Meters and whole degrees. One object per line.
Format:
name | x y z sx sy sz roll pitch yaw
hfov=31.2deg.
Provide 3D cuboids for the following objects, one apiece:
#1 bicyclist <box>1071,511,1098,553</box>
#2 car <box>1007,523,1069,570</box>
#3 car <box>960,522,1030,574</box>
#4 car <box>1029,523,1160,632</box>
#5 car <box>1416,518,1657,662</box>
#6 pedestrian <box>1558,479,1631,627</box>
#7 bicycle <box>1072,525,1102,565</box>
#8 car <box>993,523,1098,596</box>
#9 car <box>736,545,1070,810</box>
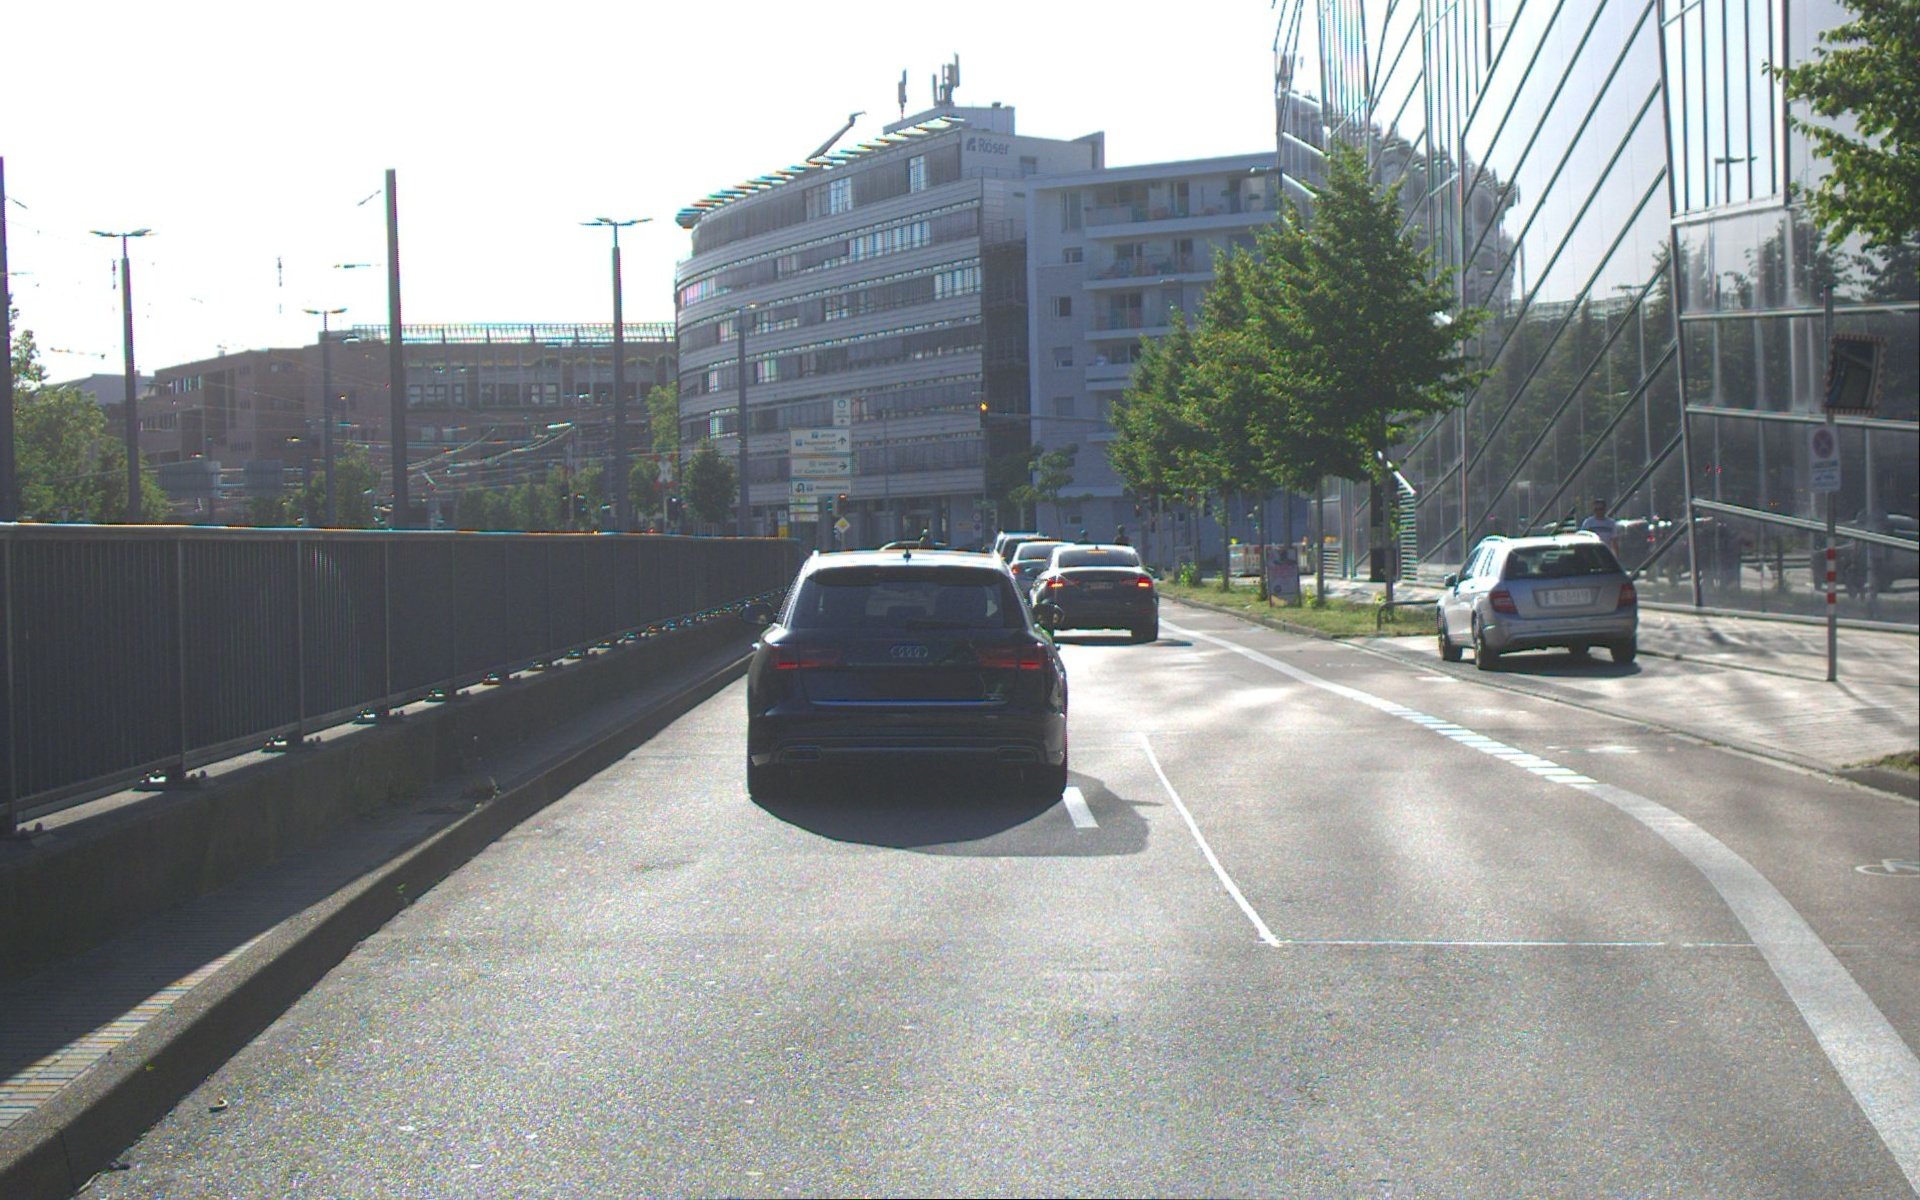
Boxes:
bicyclist | 3.849 -2.093 106.250 0.724 1.264 1.036 -2 1 -2
car | 2.569 -1.772 112.423 1.993 1.460 4.000 0 2 1
car | 1.054 -1.544 100.642 1.993 1.460 4.000 0 2 1
car | 1.957 -0.369 51.080 1.853 1.541 4.000 0 1 1
car | 6.582 -0.162 39.745 1.852 1.476 4.854 -3 1 -1
pedestrian | 8.830 -0.656 47.886 0.836 2.007 0.689 -2 1 1
bicycle | 3.929 -1.702 106.265 0.724 1.180 2.094 -2 1 -2
car | 1.801 -0.885 73.549 1.993 1.460 4.001 0 2 -2
car | -0.346 0.395 21.238 1.812 1.422 4.690 -1 1 -1
